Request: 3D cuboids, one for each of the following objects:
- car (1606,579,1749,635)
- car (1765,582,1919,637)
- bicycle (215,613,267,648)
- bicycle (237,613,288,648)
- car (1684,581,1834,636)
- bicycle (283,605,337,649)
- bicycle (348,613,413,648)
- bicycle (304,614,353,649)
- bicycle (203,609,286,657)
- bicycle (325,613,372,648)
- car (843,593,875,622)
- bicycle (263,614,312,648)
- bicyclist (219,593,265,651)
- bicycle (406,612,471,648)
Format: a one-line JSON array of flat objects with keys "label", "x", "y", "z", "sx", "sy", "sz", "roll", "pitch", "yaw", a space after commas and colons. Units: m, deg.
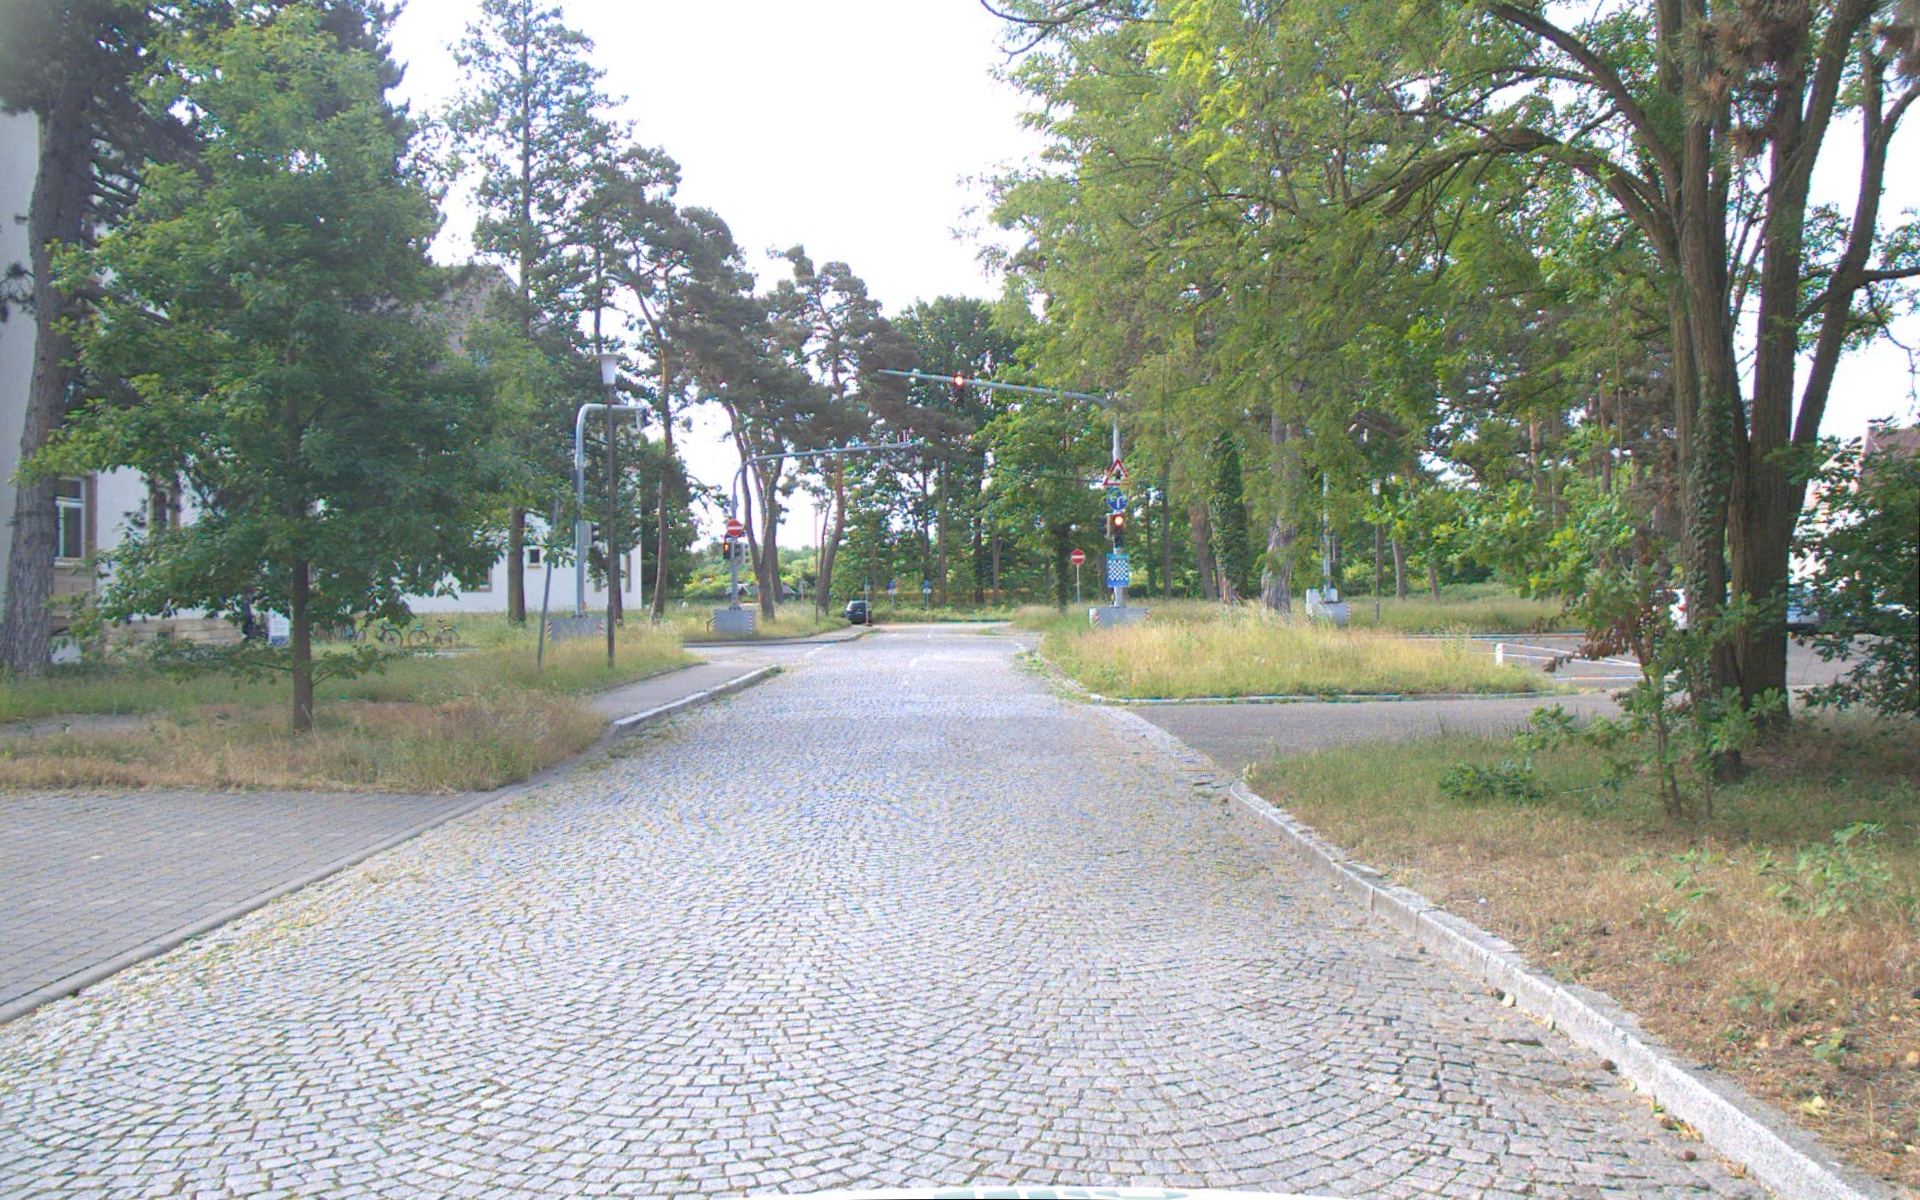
[{"label": "car", "x": 20.683, "y": 0.248, "z": 47.907, "sx": 1.954, "sy": 1.507, "sz": 4.421, "roll": -1, "pitch": -1, "yaw": -4}, {"label": "car", "x": 25.760, "y": 0.316, "z": 48.459, "sx": 1.954, "sy": 1.507, "sz": 4.421, "roll": -1, "pitch": -1, "yaw": -4}, {"label": "bicycle", "x": -23.698, "y": 1.008, "z": 54.583, "sx": 0.721, "sy": 1.095, "sz": 2.273, "roll": -1, "pitch": 0, "yaw": 0}, {"label": "bicycle", "x": -22.978, "y": 1.003, "z": 54.522, "sx": 0.721, "sy": 1.095, "sz": 2.273, "roll": -1, "pitch": 0, "yaw": 0}, {"label": "car", "x": 23.148, "y": 0.281, "z": 48.125, "sx": 1.954, "sy": 1.507, "sz": 4.421, "roll": -1, "pitch": -1, "yaw": -4}, {"label": "bicycle", "x": -21.564, "y": 0.879, "z": 54.929, "sx": 0.721, "sy": 1.410, "sz": 2.711, "roll": -1, "pitch": 0, "yaw": 0}, {"label": "bicycle", "x": -18.725, "y": 0.979, "z": 53.447, "sx": 1.818, "sy": 1.095, "sz": 0.738, "roll": -1, "pitch": 0, "yaw": 1}, {"label": "bicycle", "x": -20.829, "y": 1.020, "z": 54.585, "sx": 0.721, "sy": 1.095, "sz": 2.273, "roll": -1, "pitch": 0, "yaw": 0}, {"label": "bicycle", "x": -21.810, "y": 1.010, "z": 50.446, "sx": 2.132, "sy": 1.411, "sz": 0.939, "roll": -1, "pitch": 0, "yaw": 7}, {"label": "bicycle", "x": -20.200, "y": 1.006, "z": 54.675, "sx": 0.721, "sy": 1.095, "sz": 2.273, "roll": -1, "pitch": 0, "yaw": 0}, {"label": "car", "x": -6.748, "y": 0.490, "z": 111.007, "sx": 2.014, "sy": 1.878, "sz": 3.999, "roll": -1, "pitch": 0, "yaw": -2}, {"label": "bicycle", "x": -22.351, "y": 1.021, "z": 55.026, "sx": 0.721, "sy": 1.095, "sz": 2.273, "roll": -1, "pitch": 0, "yaw": 0}, {"label": "bicyclist", "x": -21.896, "y": 0.670, "z": 50.464, "sx": 0.901, "sy": 1.727, "sz": 0.958, "roll": -1, "pitch": -1, "yaw": 8}, {"label": "bicycle", "x": -16.875, "y": 0.967, "z": 53.515, "sx": 1.818, "sy": 1.095, "sz": 0.831, "roll": -1, "pitch": 0, "yaw": 1}]
